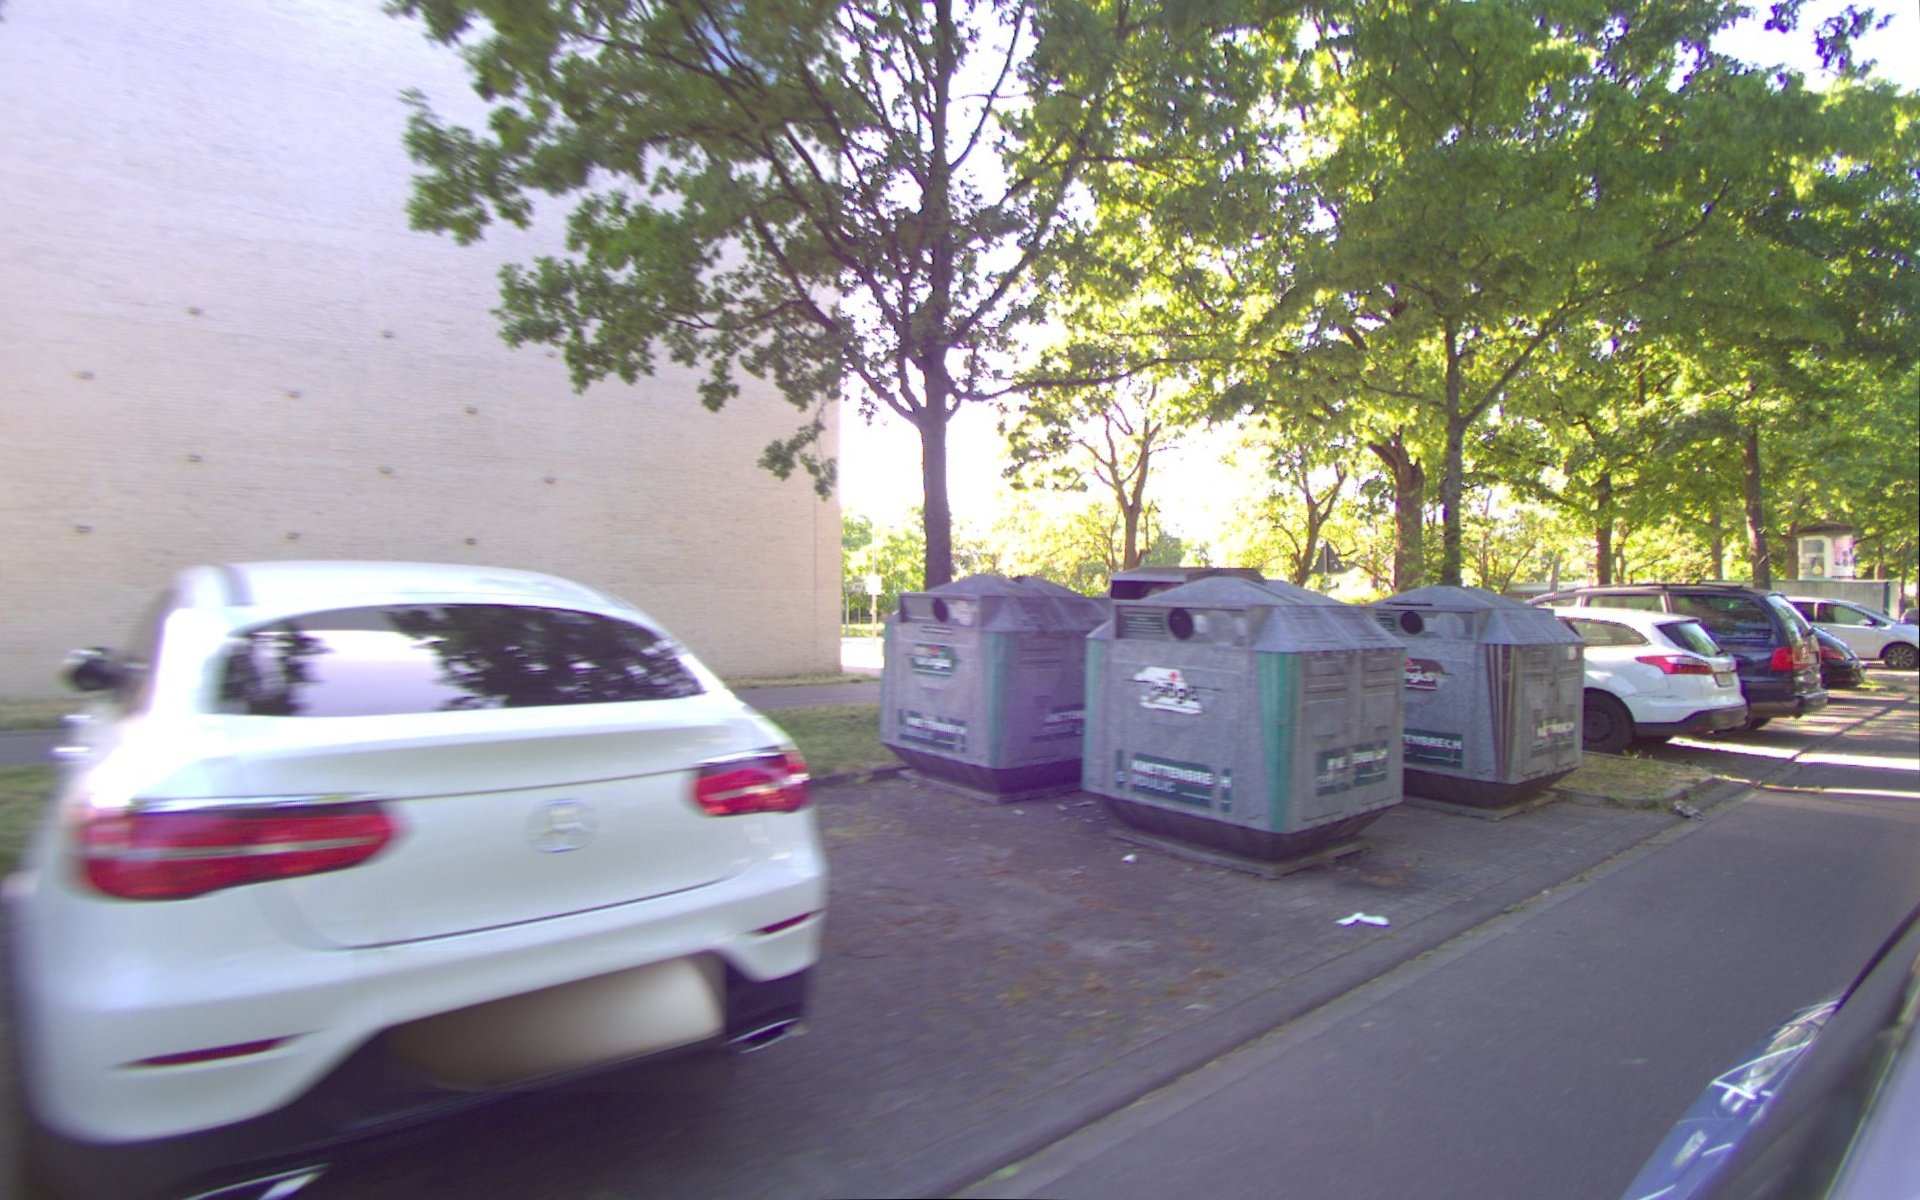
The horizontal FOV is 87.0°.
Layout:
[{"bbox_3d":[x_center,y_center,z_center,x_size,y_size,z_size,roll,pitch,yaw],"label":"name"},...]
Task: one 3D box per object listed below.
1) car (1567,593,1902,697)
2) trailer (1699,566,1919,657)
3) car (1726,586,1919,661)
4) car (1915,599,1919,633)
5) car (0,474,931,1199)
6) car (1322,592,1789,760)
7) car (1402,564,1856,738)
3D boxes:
[{"bbox_3d":[13.197,0.658,17.455,2.041,1.538,4.255,0,1,-39],"label":"car"},{"bbox_3d":[24.343,0.247,28.213,1.655,2.346,5.790,0,1,-38],"label":"trailer"},{"bbox_3d":[22.707,0.547,25.896,1.952,1.744,4.652,0,1,-39],"label":"car"},{"bbox_3d":[46.812,0.775,46.879,1.825,1.596,3.589,0,1,-41],"label":"car"},{"bbox_3d":[-2.294,0.568,3.894,1.882,1.600,4.680,0,1,-40],"label":"car"},{"bbox_3d":[6.507,0.682,11.485,1.767,1.490,4.231,0,1,-39],"label":"car"},{"bbox_3d":[8.348,0.507,13.010,1.902,1.824,4.539,0,1,-40],"label":"car"}]
